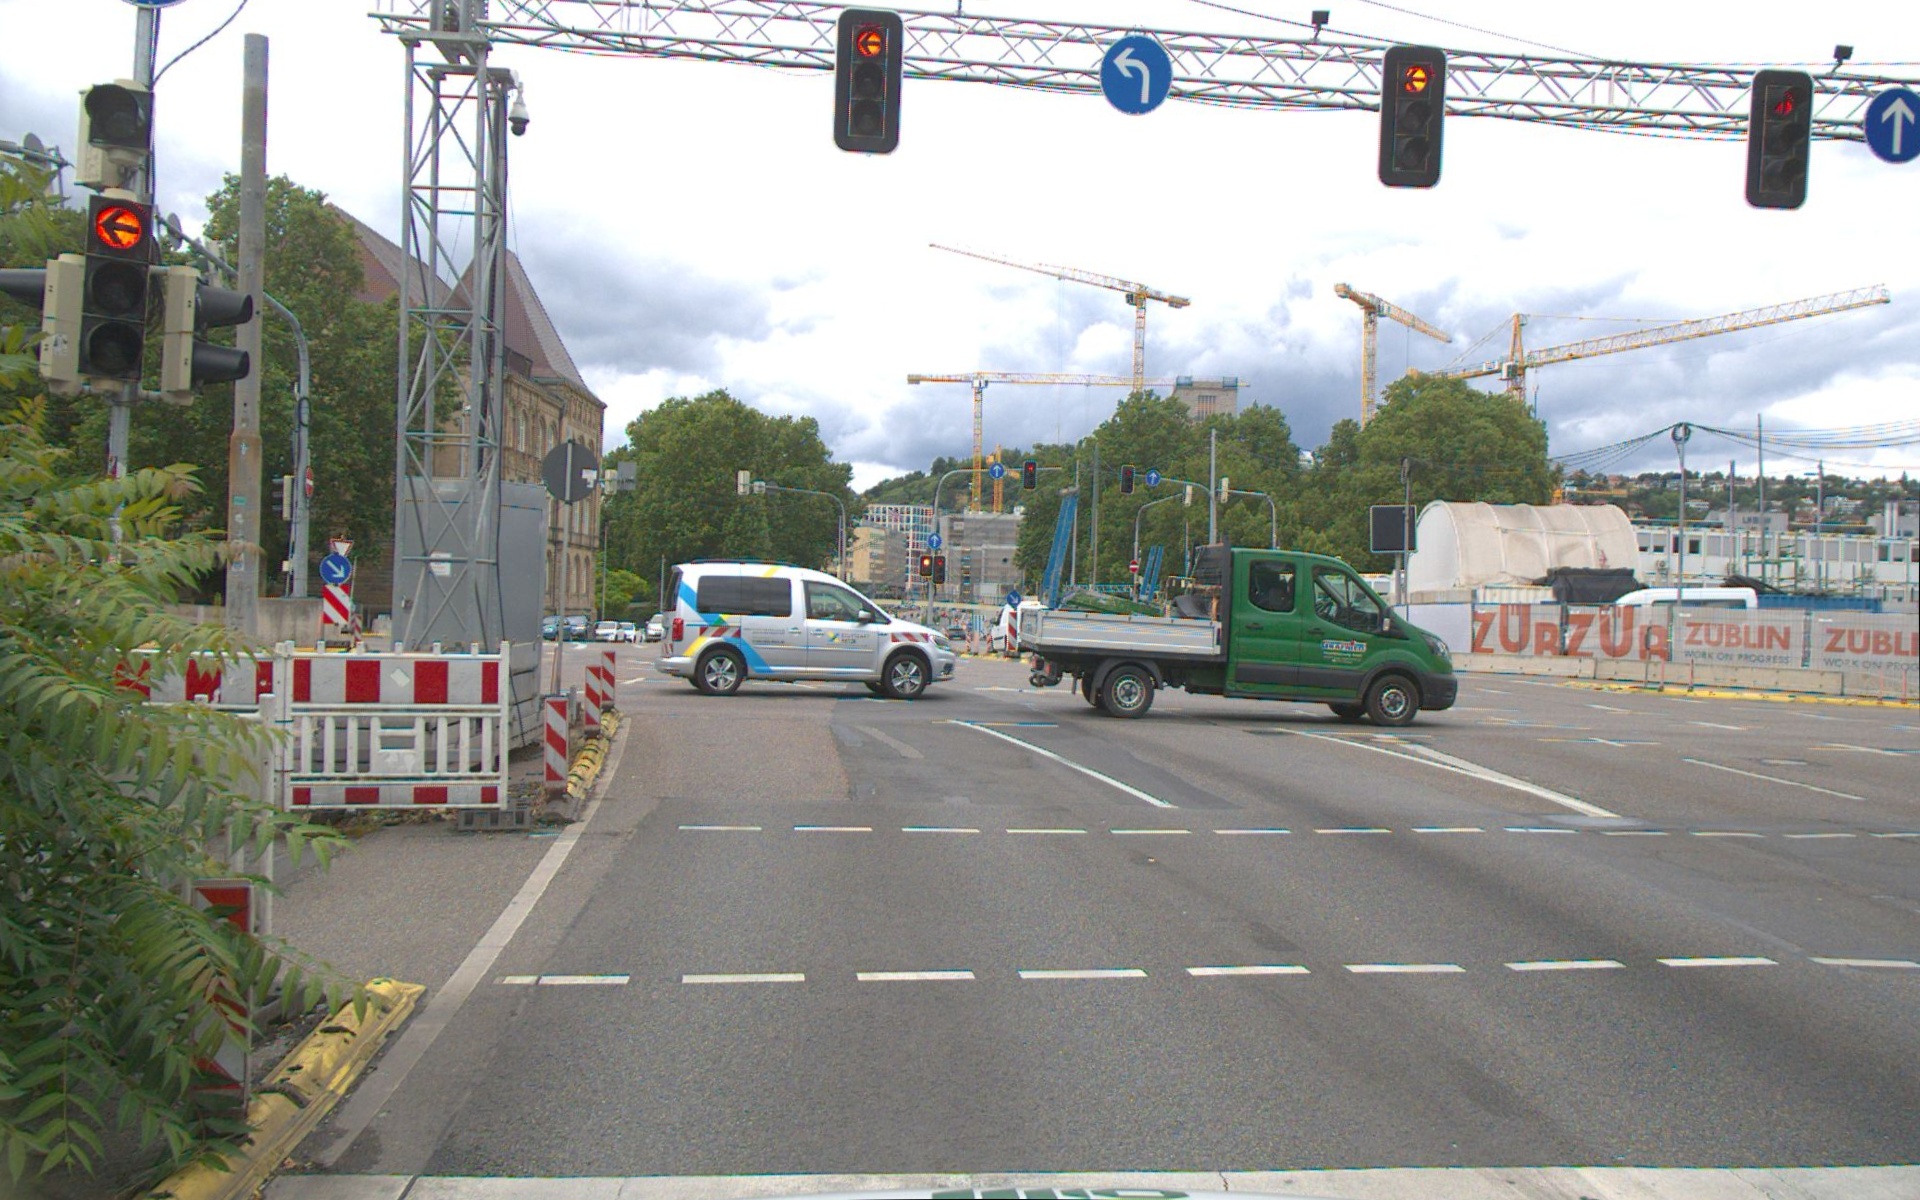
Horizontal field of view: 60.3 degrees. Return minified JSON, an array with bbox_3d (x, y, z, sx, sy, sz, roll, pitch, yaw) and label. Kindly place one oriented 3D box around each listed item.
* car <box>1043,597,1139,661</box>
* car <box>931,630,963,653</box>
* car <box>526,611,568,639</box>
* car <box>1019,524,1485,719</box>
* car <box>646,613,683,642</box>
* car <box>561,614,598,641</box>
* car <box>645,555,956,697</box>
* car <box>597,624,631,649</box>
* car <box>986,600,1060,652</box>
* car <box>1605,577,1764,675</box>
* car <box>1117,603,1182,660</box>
[{"bbox_3d":[3.780,0.828,48.521,1.799,1.776,4.245,1,0,-10],"label":"car"},{"bbox_3d":[-0.886,2.755,111.047,1.644,1.422,3.676,1,0,-8],"label":"car"},{"bbox_3d":[-21.472,1.284,86.139,1.644,1.422,3.677,1,0,-7],"label":"car"},{"bbox_3d":[3.739,0.289,21.871,5.647,2.345,2.301,1,0,-6],"label":"car"},{"bbox_3d":[-15.250,1.390,85.373,1.644,1.422,3.677,1,0,-7],"label":"car"},{"bbox_3d":[-21.278,1.527,92.569,1.644,1.422,3.677,1,0,-7],"label":"car"},{"bbox_3d":[-2.323,0.385,23.819,4.197,1.915,1.822,1,0,-16],"label":"car"},{"bbox_3d":[-20.885,2.206,99.947,1.644,1.422,3.677,1,0,-7],"label":"car"},{"bbox_3d":[2.083,0.834,55.542,1.783,1.653,3.993,1,0,-8],"label":"car"},{"bbox_3d":[20.825,0.737,47.671,3.902,2.708,1.683,1,0,13],"label":"car"},{"bbox_3d":[6.043,0.983,53.120,1.642,1.732,3.374,1,0,-1],"label":"car"}]
